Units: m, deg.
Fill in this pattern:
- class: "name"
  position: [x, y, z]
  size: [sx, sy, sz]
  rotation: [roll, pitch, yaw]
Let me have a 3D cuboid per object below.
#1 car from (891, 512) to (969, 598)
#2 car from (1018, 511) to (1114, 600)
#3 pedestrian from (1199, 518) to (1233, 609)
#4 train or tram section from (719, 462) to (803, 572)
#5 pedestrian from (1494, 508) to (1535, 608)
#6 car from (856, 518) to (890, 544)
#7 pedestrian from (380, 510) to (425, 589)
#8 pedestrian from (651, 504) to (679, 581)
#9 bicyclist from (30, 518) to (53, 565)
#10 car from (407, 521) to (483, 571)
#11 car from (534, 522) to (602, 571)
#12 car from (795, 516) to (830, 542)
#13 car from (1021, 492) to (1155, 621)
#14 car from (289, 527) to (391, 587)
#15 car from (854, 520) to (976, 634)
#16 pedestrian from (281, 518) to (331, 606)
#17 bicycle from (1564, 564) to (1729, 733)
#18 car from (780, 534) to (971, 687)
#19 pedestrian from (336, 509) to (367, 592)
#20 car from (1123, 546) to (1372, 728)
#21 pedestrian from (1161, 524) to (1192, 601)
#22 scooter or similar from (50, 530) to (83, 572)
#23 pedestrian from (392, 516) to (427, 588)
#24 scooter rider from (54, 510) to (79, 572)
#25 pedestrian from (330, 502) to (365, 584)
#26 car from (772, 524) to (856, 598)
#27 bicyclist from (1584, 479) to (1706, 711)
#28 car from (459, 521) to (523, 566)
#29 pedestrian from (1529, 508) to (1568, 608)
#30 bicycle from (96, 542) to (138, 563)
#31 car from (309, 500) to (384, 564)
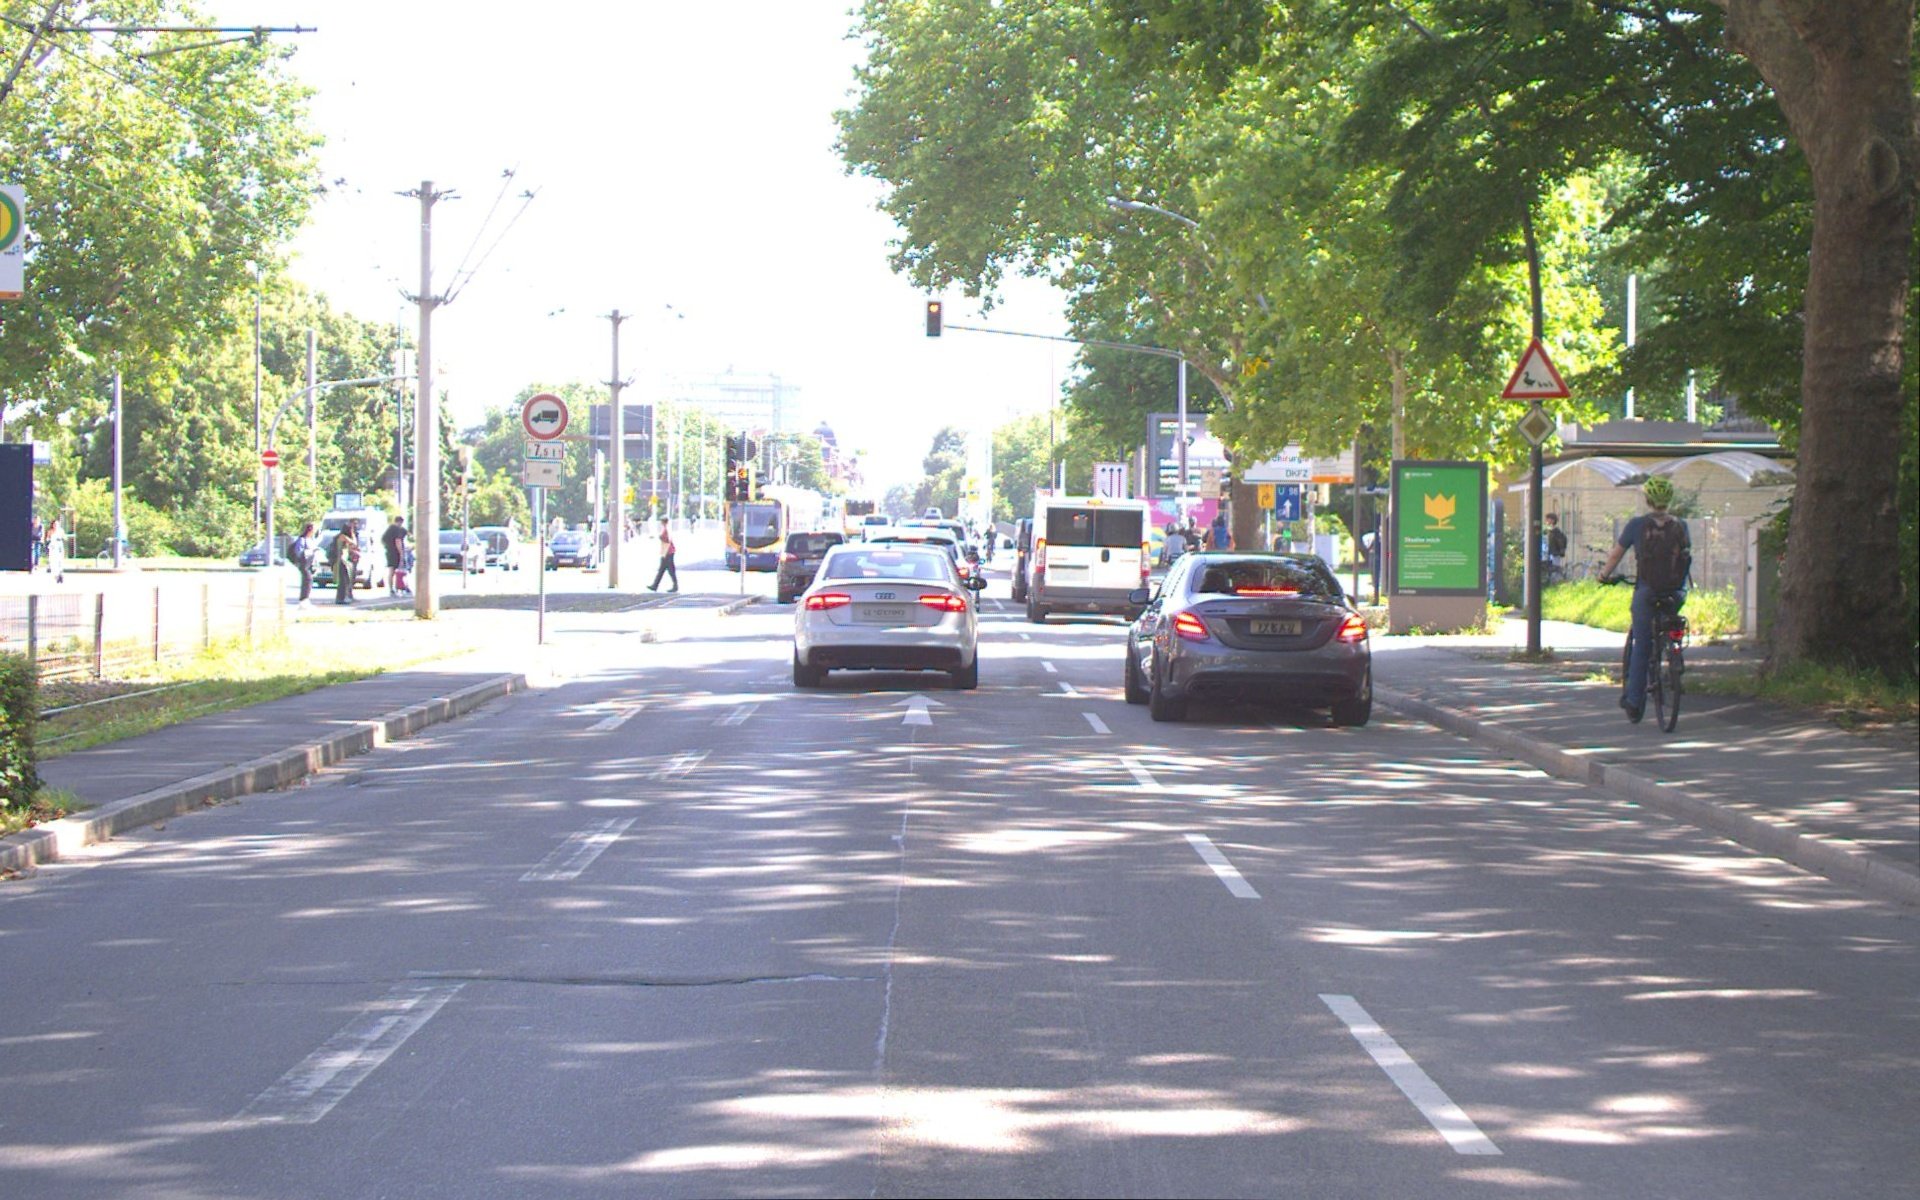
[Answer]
- class: "car"
  position: [-0.672, -1.051, 79.074]
  size: [1.729, 1.895, 4.000]
  rotation: [1, 1, 0]
- class: "car"
  position: [2.454, -1.046, 80.149]
  size: [2.072, 1.992, 4.058]
  rotation: [1, 1, 0]
- class: "pedestrian"
  position: [5.502, -0.784, 73.935]
  size: [0.635, 1.939, 0.719]
  rotation: [1, 1, 0]
- class: "train or tram section"
  position: [-7.516, -3.120, 130.674]
  size: [2.617, 4.001, 7.749]
  rotation: [1, 1, 0]
- class: "pedestrian"
  position: [10.555, -0.809, 65.426]
  size: [0.613, 1.890, 0.694]
  rotation: [0, 1, -3]
- class: "car"
  position: [-5.479, -4.371, 217.714]
  size: [1.871, 1.603, 4.000]
  rotation: [1, 1, 2]
- class: "pedestrian"
  position: [-12.337, -1.114, 76.108]
  size: [0.775, 1.728, 0.754]
  rotation: [1, 1, 9]
- class: "pedestrian"
  position: [-7.389, -1.438, 86.140]
  size: [0.624, 1.911, 0.690]
  rotation: [1, 1, 0]
- class: "bicyclist"
  position: [-27.926, -1.777, 104.515]
  size: [0.479, 1.411, 0.592]
  rotation: [0, 1, -35]
- class: "car"
  position: [-17.016, -1.790, 113.770]
  size: [1.871, 1.603, 4.000]
  rotation: [1, 1, 0]
- class: "car"
  position: [-14.297, -1.966, 125.605]
  size: [1.993, 1.728, 4.000]
  rotation: [1, 1, 0]
- class: "car"
  position: [-9.322, -4.482, 217.770]
  size: [1.871, 1.603, 4.000]
  rotation: [1, 1, 2]
- class: "car"
  position: [2.267, -0.805, 61.981]
  size: [2.230, 2.204, 4.162]
  rotation: [1, 1, 0]
- class: "car"
  position: [-16.066, -1.133, 89.281]
  size: [1.796, 1.483, 4.385]
  rotation: [1, 1, 0]
- class: "car"
  position: [-0.645, -0.371, 51.499]
  size: [1.729, 1.599, 3.885]
  rotation: [1, 1, 0]
- class: "pedestrian"
  position: [-12.158, -0.704, 63.908]
  size: [0.757, 1.617, 0.595]
  rotation: [1, 1, -25]
- class: "bicycle"
  position: [5.015, 0.331, 25.241]
  size: [0.714, 1.144, 2.178]
  rotation: [-2, 1, -1]
- class: "car"
  position: [-0.803, 0.061, 34.497]
  size: [1.784, 1.416, 3.885]
  rotation: [1, 1, 0]
- class: "pedestrian"
  position: [-12.400, -1.016, 70.058]
  size: [0.492, 1.673, 0.643]
  rotation: [1, 1, 0]
- class: "car"
  position: [2.407, 0.269, 29.668]
  size: [1.782, 1.415, 4.000]
  rotation: [1, 1, 0]
- class: "pedestrian"
  position: [4.810, -0.833, 76.375]
  size: [0.602, 1.689, 0.953]
  rotation: [-1, 1, 0]
- class: "scooter or similar"
  position: [-23.882, -1.307, 91.898]
  size: [0.547, 1.109, 1.248]
  rotation: [1, 1, 0]
- class: "pedestrian"
  position: [-12.308, -1.064, 76.848]
  size: [0.537, 1.592, 0.577]
  rotation: [1, 1, 19]
- class: "scooter rider"
  position: [-23.883, -1.581, 91.901]
  size: [0.506, 1.626, 0.566]
  rotation: [1, 1, 0]
- class: "pedestrian"
  position: [-12.337, -1.145, 69.249]
  size: [0.593, 1.641, 0.554]
  rotation: [1, 1, 0]
- class: "car"
  position: [-3.325, -0.904, 78.948]
  size: [1.729, 1.625, 4.000]
  rotation: [1, 1, 0]
- class: "bicyclist"
  position: [4.996, -0.047, 25.116]
  size: [0.634, 1.642, 0.979]
  rotation: [-2, 1, -1]
- class: "car"
  position: [-17.235, -2.084, 126.472]
  size: [1.763, 1.603, 3.860]
  rotation: [1, 1, 0]
- class: "pedestrian"
  position: [11.210, -0.805, 65.491]
  size: [0.613, 1.890, 0.597]
  rotation: [0, 1, -3]
- class: "bicycle"
  position: [-29.772, -1.665, 121.427]
  size: [0.492, 0.728, 1.619]
  rotation: [2, 1, 29]
- class: "car"
  position: [-23.576, -2.626, 132.220]
  size: [2.114, 2.374, 4.000]
  rotation: [1, 1, 0]
